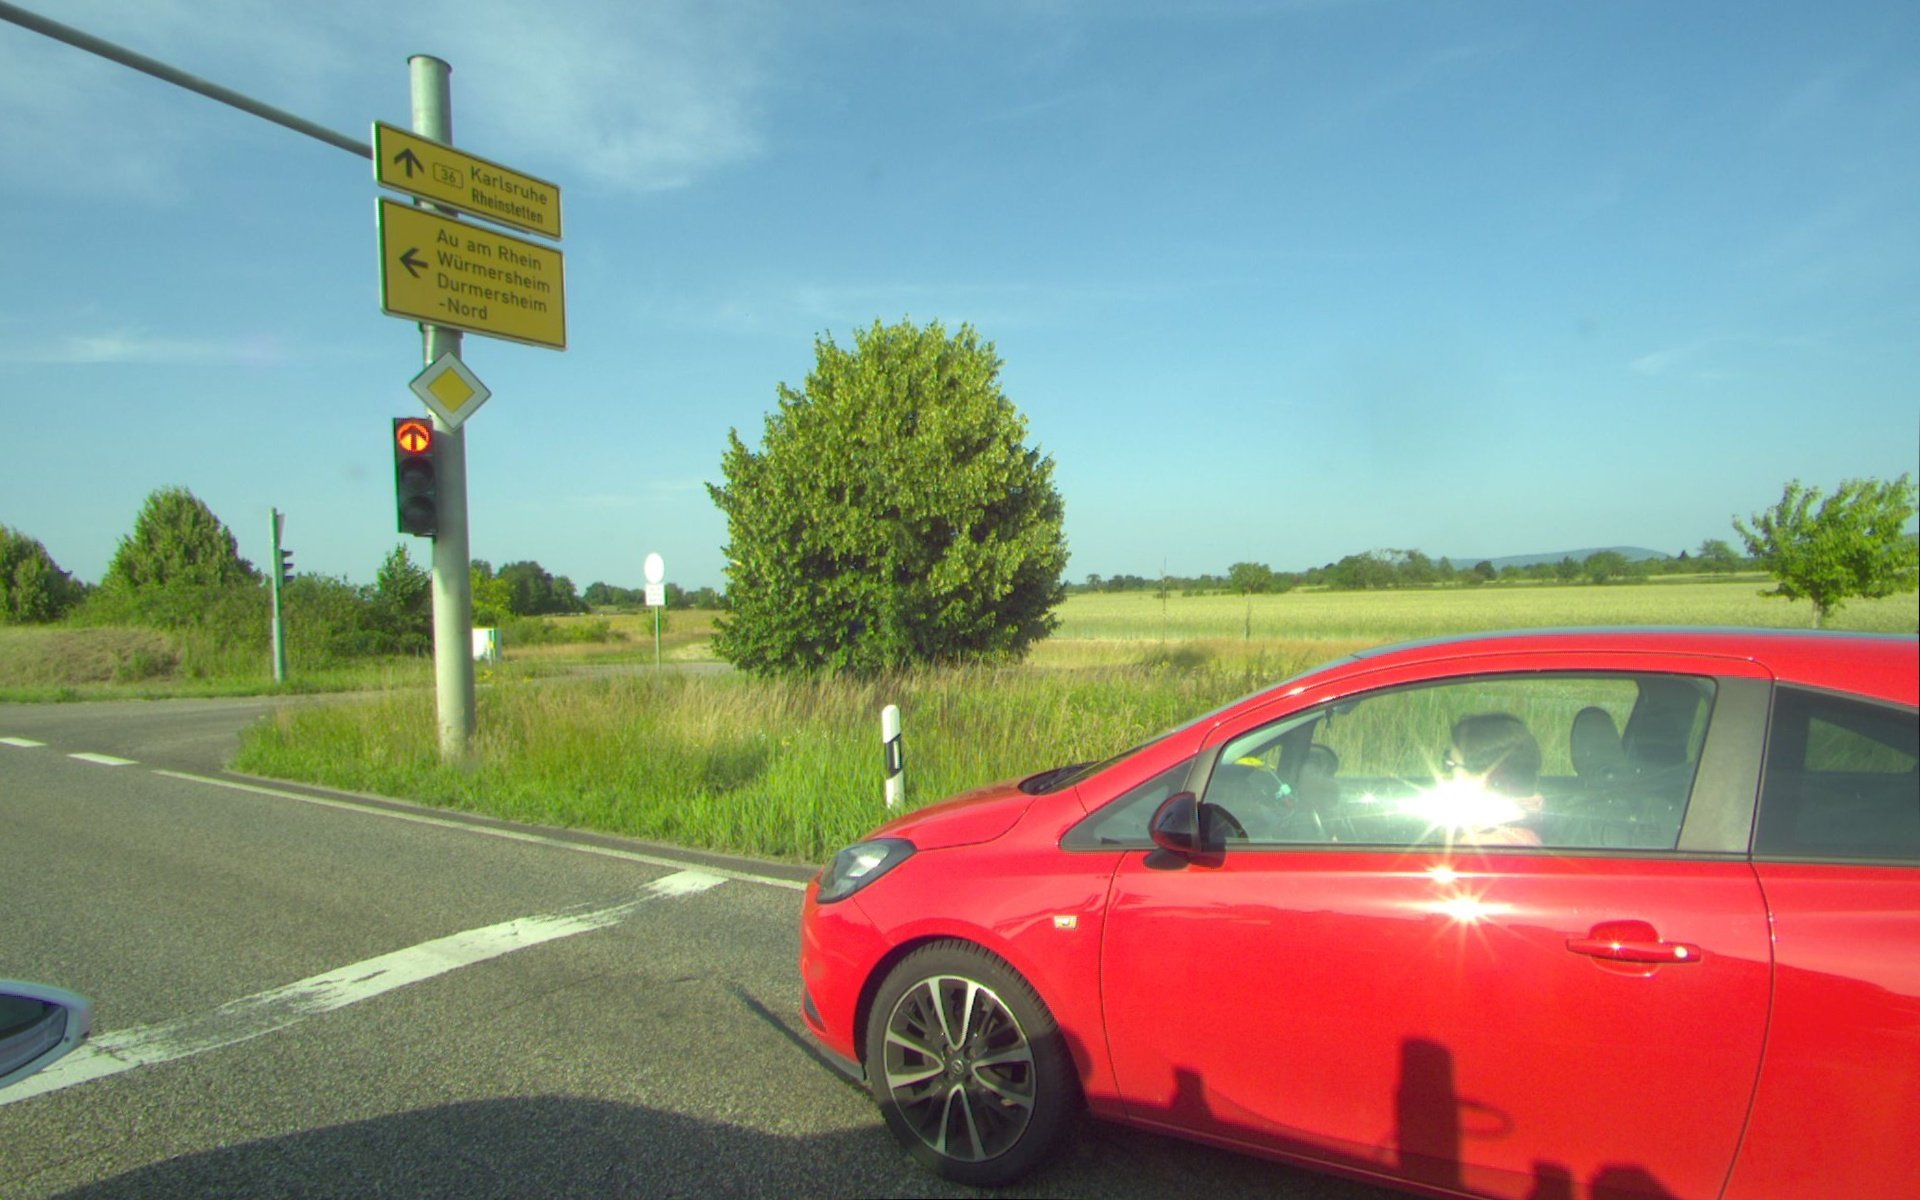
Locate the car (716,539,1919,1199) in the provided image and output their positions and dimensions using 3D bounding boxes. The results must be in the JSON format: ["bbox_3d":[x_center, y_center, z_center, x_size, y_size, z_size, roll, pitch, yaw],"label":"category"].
[{"bbox_3d":[1.289,0.699,2.861,3.693,1.569,1.695,-1,0,29],"label":"car"}]
